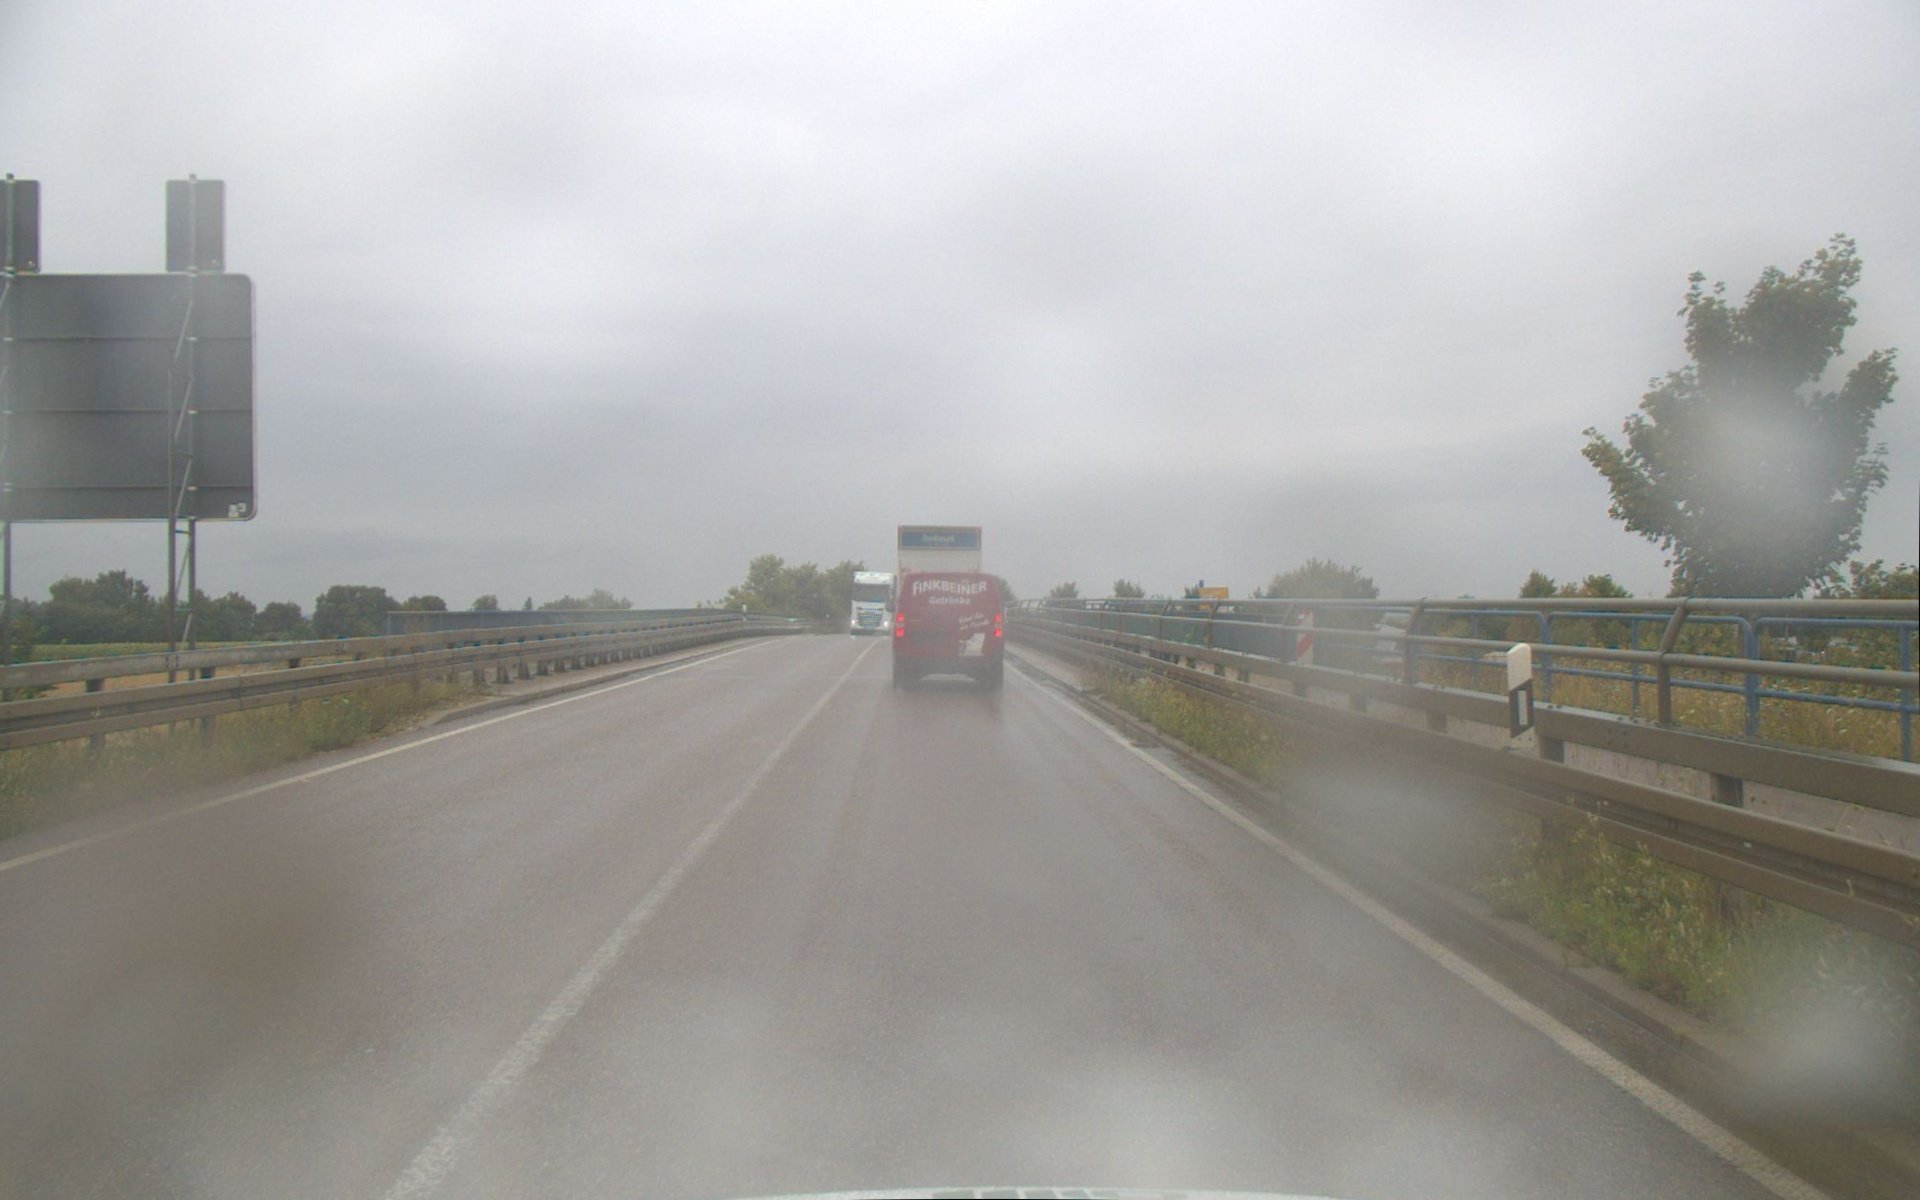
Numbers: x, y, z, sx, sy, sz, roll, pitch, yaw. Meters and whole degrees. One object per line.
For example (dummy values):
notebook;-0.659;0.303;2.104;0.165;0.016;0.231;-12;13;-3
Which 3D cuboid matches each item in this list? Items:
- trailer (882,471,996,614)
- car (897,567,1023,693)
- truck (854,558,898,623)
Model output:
trailer;-0.607;-1.636;52.736;3.136;3.990;8.738;3;-1;0
car;-0.073;0.456;28.267;1.953;1.959;4.142;1;1;-2
truck;-5.404;-0.575;107.409;2.761;4.040;8.759;0;0;-2
